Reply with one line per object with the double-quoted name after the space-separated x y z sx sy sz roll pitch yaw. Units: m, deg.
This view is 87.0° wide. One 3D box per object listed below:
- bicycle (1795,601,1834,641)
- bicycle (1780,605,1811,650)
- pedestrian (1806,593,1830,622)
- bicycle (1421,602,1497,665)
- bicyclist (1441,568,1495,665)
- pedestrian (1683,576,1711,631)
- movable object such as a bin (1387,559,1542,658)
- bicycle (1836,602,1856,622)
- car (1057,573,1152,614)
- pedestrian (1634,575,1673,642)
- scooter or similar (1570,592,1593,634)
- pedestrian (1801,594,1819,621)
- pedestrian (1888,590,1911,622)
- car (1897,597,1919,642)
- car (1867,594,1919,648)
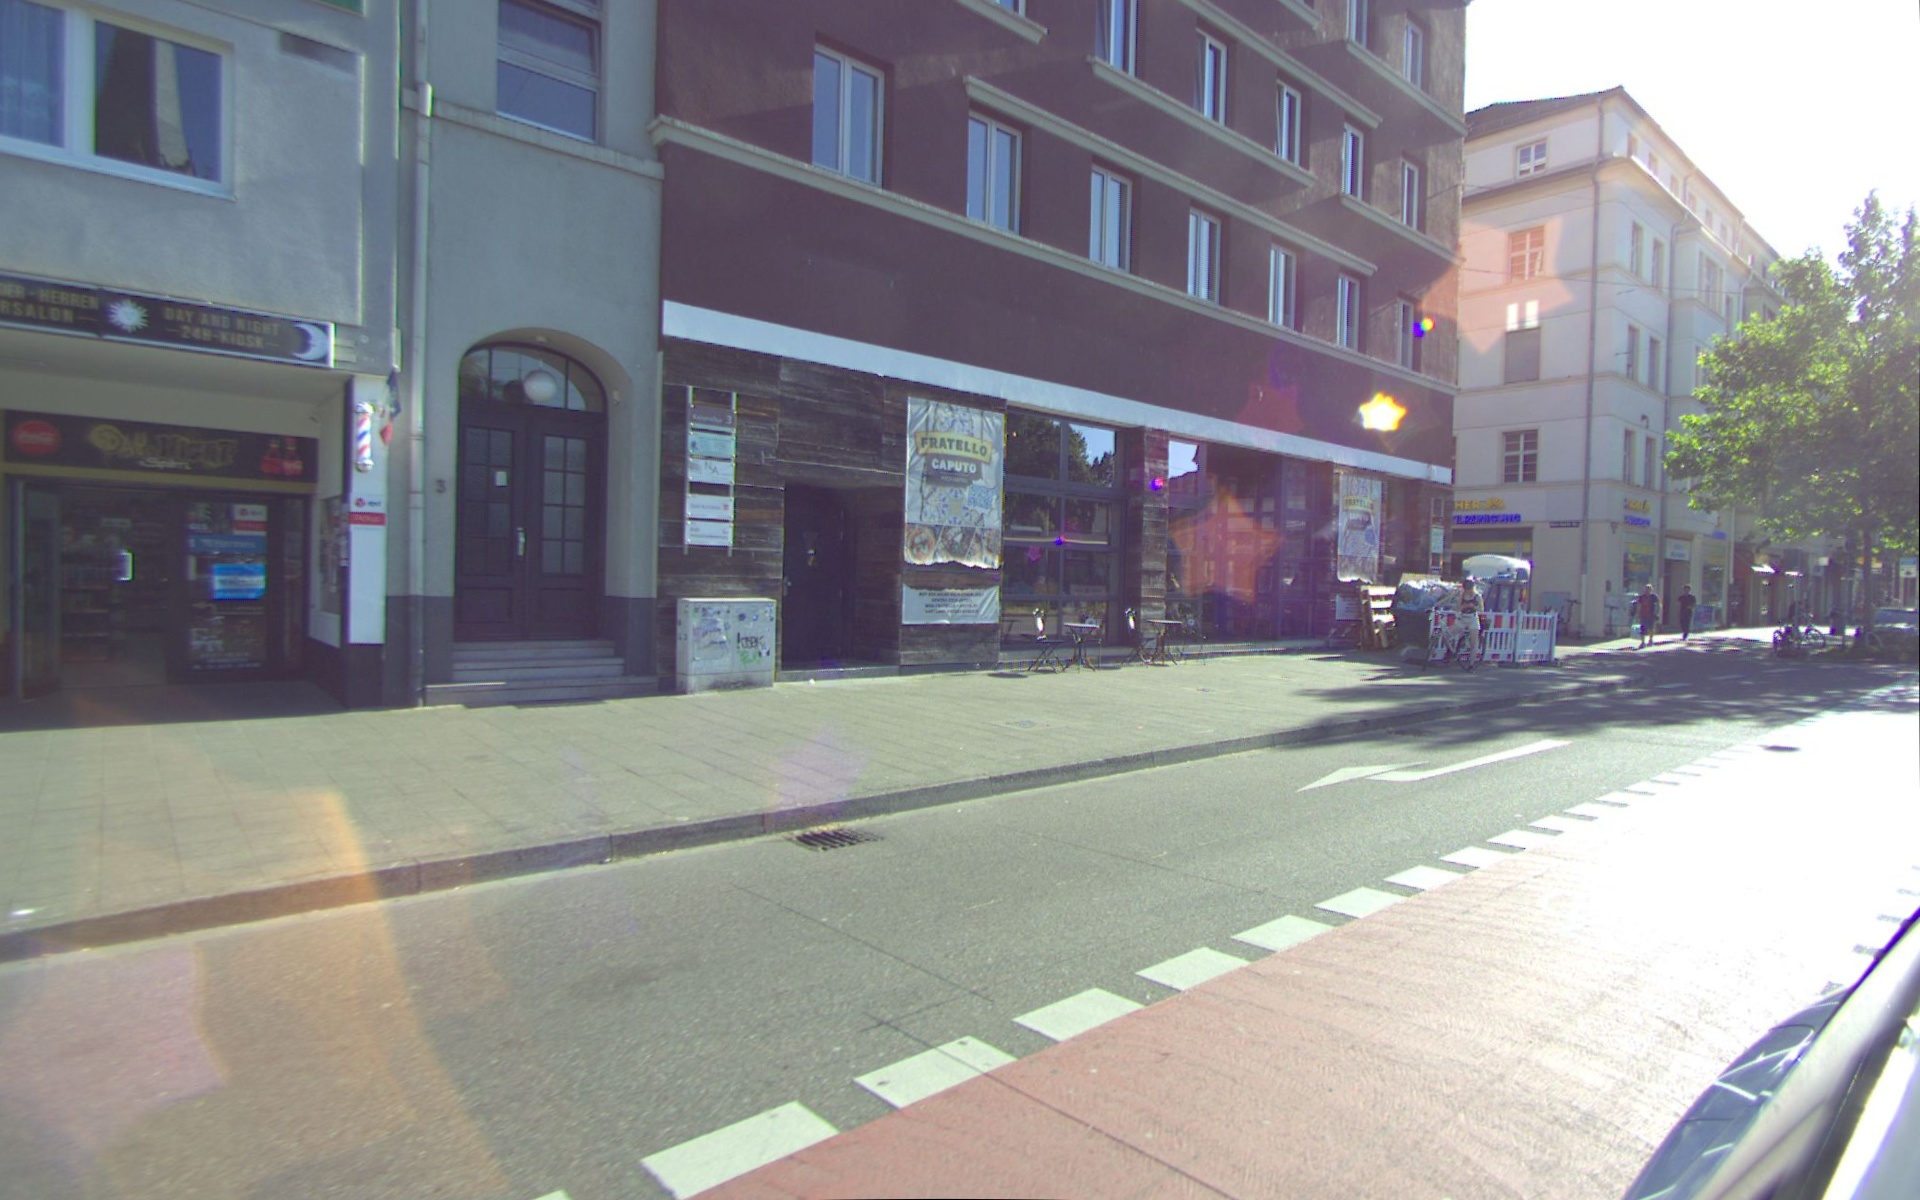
25.840 0.627 30.594 1.658 1.150 0.489 1 0 -35 "bicycle"
22.935 0.728 27.762 0.580 1.177 2.204 -1 0 41 "bicycle"
43.168 0.359 50.922 0.841 1.386 0.787 0 2 -40 "pedestrian"
9.010 0.596 18.255 1.650 1.099 0.319 1 1 -28 "bicycle"
9.142 0.292 18.228 0.585 1.711 0.604 1 1 -30 "bicyclist"
23.622 0.112 32.430 0.757 1.732 0.559 1 1 -41 "pedestrian"
10.590 0.163 21.157 1.945 1.866 3.425 2 1 43 "movable object such as a bin"
48.480 0.652 55.362 2.577 1.037 0.491 0 1 -42 "bicycle"
6.511 -0.294 45.865 1.964 1.772 3.996 0 0 -39 "car"
20.376 0.241 29.730 0.848 1.923 0.715 0 2 -41 "pedestrian"
19.654 0.402 32.018 0.377 1.302 1.199 0 0 19 "scooter or similar"
42.330 0.372 50.394 0.806 1.349 0.536 0 2 -40 "pedestrian"
52.176 0.320 56.202 0.901 1.726 0.860 0 1 -43 "pedestrian"
35.519 0.711 36.499 4.513 1.528 2.042 0 1 -41 "car"
29.795 0.632 31.492 4.358 1.574 1.792 0 1 -41 "car"
